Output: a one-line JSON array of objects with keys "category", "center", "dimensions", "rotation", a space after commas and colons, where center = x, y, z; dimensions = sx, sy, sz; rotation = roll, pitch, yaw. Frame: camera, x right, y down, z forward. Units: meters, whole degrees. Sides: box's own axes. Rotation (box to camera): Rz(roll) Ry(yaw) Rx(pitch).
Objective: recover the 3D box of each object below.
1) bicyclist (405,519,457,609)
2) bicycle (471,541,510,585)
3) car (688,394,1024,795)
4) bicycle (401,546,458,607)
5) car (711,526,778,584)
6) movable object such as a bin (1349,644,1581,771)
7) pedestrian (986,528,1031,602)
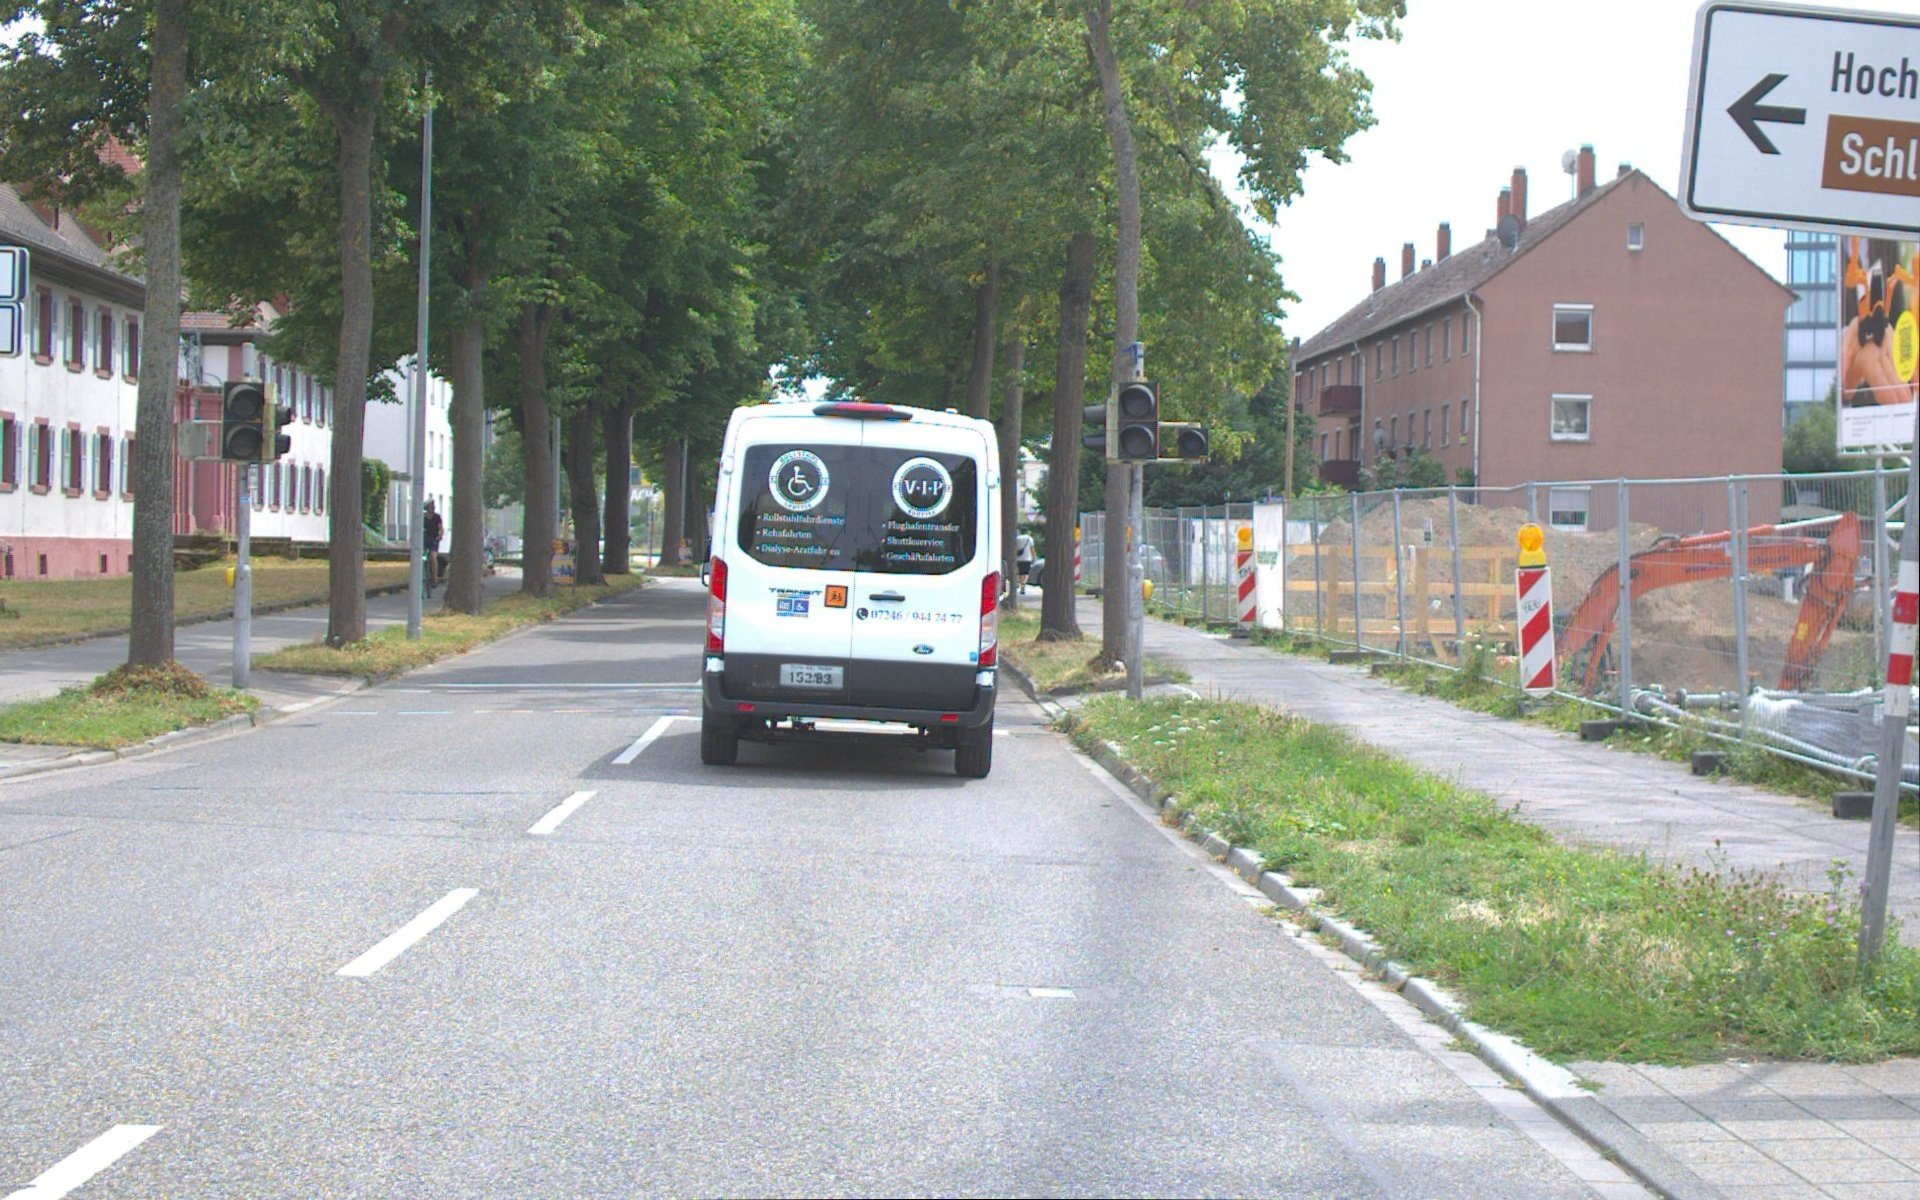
[{"category": "bicyclist", "center": [-10.129, -0.686, 65.839], "dimensions": [0.722, 1.650, 0.958], "rotation": [5, 0, -2]}, {"category": "bicycle", "center": [-12.508, -0.983, 91.611], "dimensions": [0.722, 1.091, 2.225], "rotation": [5, 1, -2]}, {"category": "car", "center": [-0.836, -0.036, 24.566], "dimensions": [2.062, 2.531, 4.001], "rotation": [3, 0, -5]}, {"category": "bicycle", "center": [-10.146, -0.461, 65.819], "dimensions": [0.722, 1.091, 2.151], "rotation": [5, 1, -2]}, {"category": "car", "center": [-6.365, -1.321, 101.777], "dimensions": [1.771, 1.653, 4.257], "rotation": [-1, 1, -1]}, {"category": "movable object such as a bin", "center": [10.832, 2.254, 73.501], "dimensions": [4.685, 2.581, 3.131], "rotation": [0, 0, 13]}, {"category": "pedestrian", "center": [1.190, -0.849, 84.593], "dimensions": [0.883, 1.808, 0.888], "rotation": [0, 0, 17]}]
